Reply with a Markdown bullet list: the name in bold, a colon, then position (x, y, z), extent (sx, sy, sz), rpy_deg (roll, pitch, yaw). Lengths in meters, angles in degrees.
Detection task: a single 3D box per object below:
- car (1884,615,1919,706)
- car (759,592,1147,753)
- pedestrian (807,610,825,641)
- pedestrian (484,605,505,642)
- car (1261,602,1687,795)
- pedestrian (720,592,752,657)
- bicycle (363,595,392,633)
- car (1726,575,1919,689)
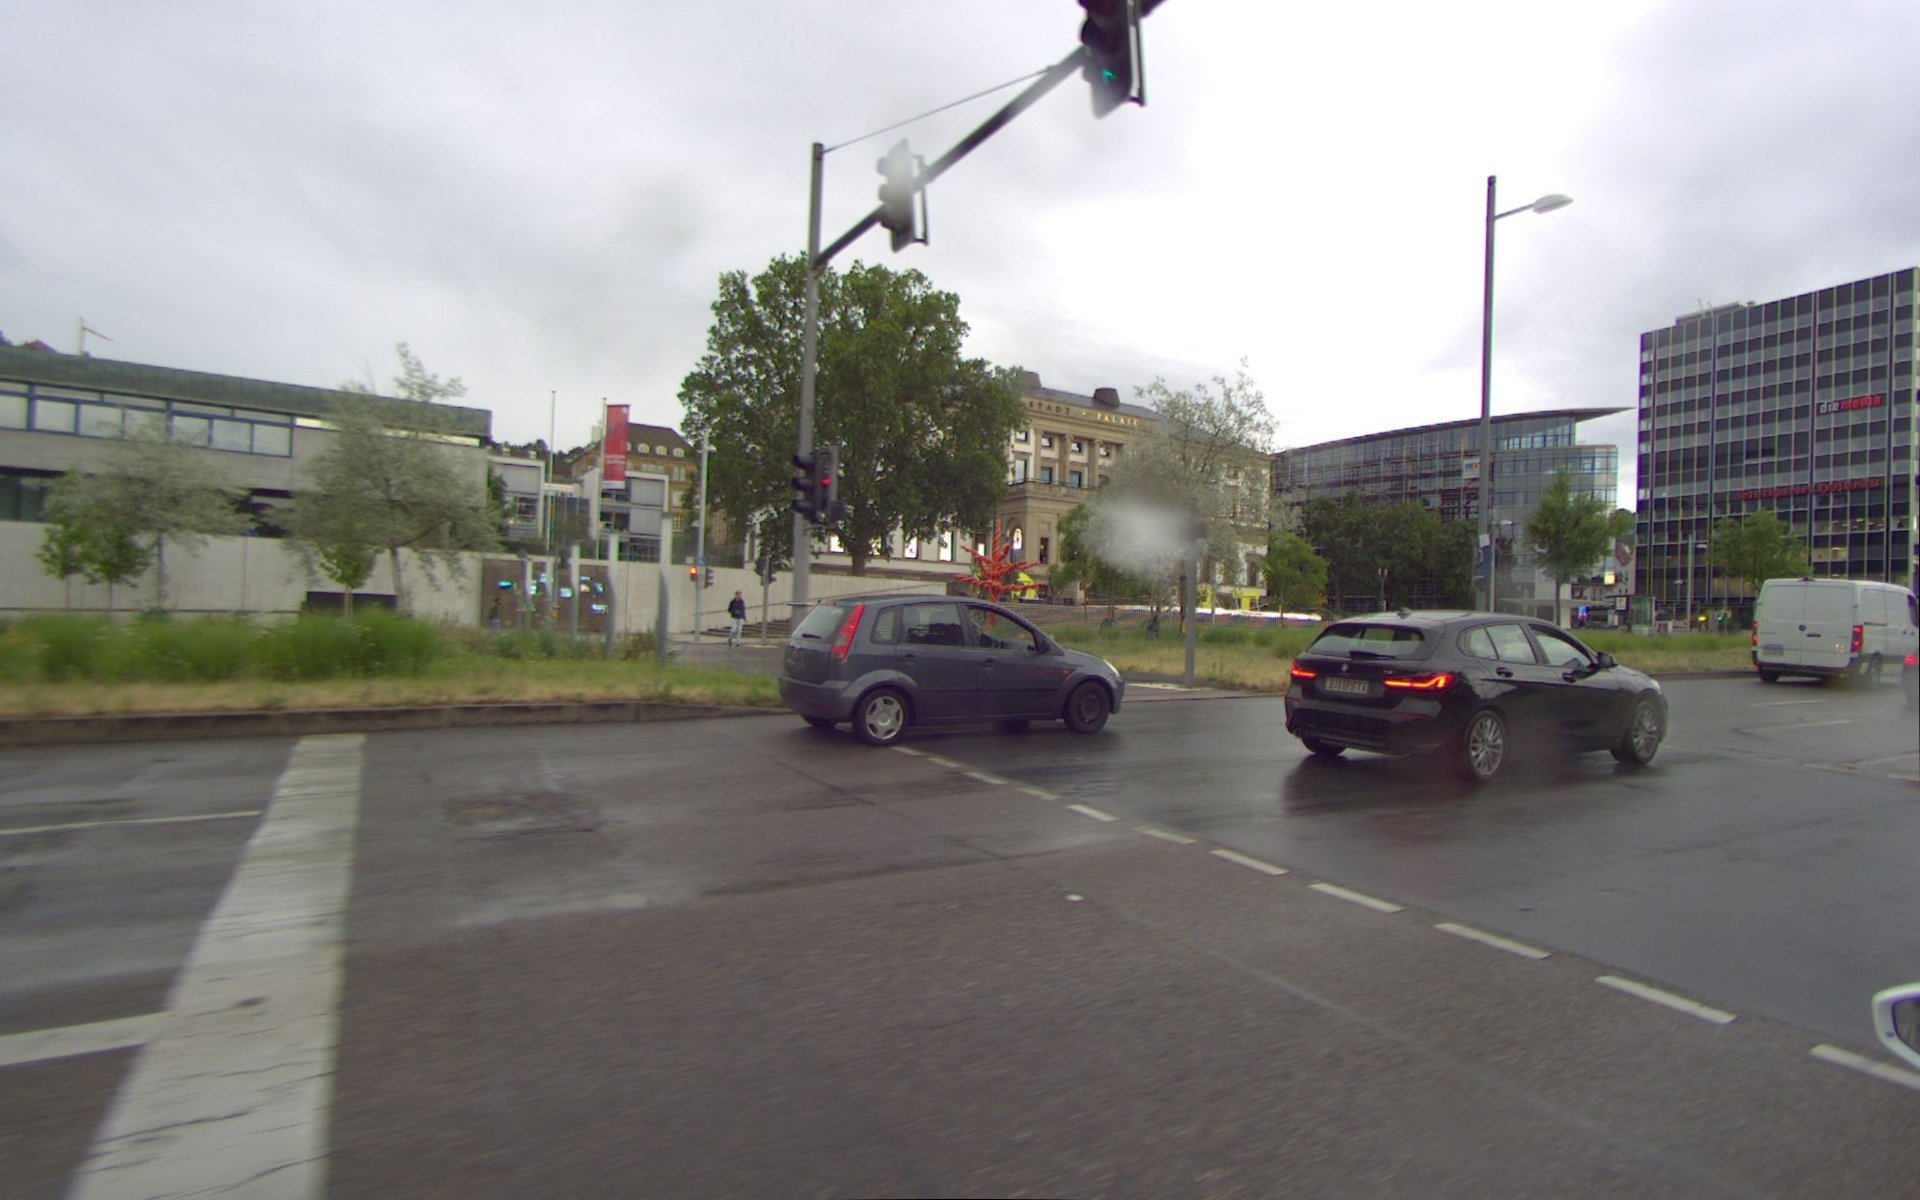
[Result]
- **car**: position (17.798, 1.065, 17.247), extent (3.356, 1.514, 1.822), rpy_deg (1, 0, -28)
- **car**: position (-0.015, 0.699, 10.651), extent (3.856, 1.434, 1.534), rpy_deg (2, 0, -31)
- **pedestrian**: position (-6.885, 1.211, 47.970), extent (0.626, 1.441, 0.489), rpy_deg (3, 0, -33)
- **pedestrian**: position (-18.478, 0.927, 39.879), extent (0.566, 1.401, 0.468), rpy_deg (3, 0, -4)
- **car**: position (5.051, 0.809, 9.731), extent (4.174, 1.491, 1.744), rpy_deg (1, 0, -31)
- **pedestrian**: position (-7.488, 0.804, 33.515), extent (0.718, 2.120, 0.762), rpy_deg (-4, 3, -34)
- **bicycle**: position (-21.838, 0.520, 37.654), extent (0.554, 1.325, 1.462), rpy_deg (3, 0, -43)
- **car**: position (20.066, 0.763, 23.055), extent (4.951, 2.344, 2.280), rpy_deg (3, -1, -32)
